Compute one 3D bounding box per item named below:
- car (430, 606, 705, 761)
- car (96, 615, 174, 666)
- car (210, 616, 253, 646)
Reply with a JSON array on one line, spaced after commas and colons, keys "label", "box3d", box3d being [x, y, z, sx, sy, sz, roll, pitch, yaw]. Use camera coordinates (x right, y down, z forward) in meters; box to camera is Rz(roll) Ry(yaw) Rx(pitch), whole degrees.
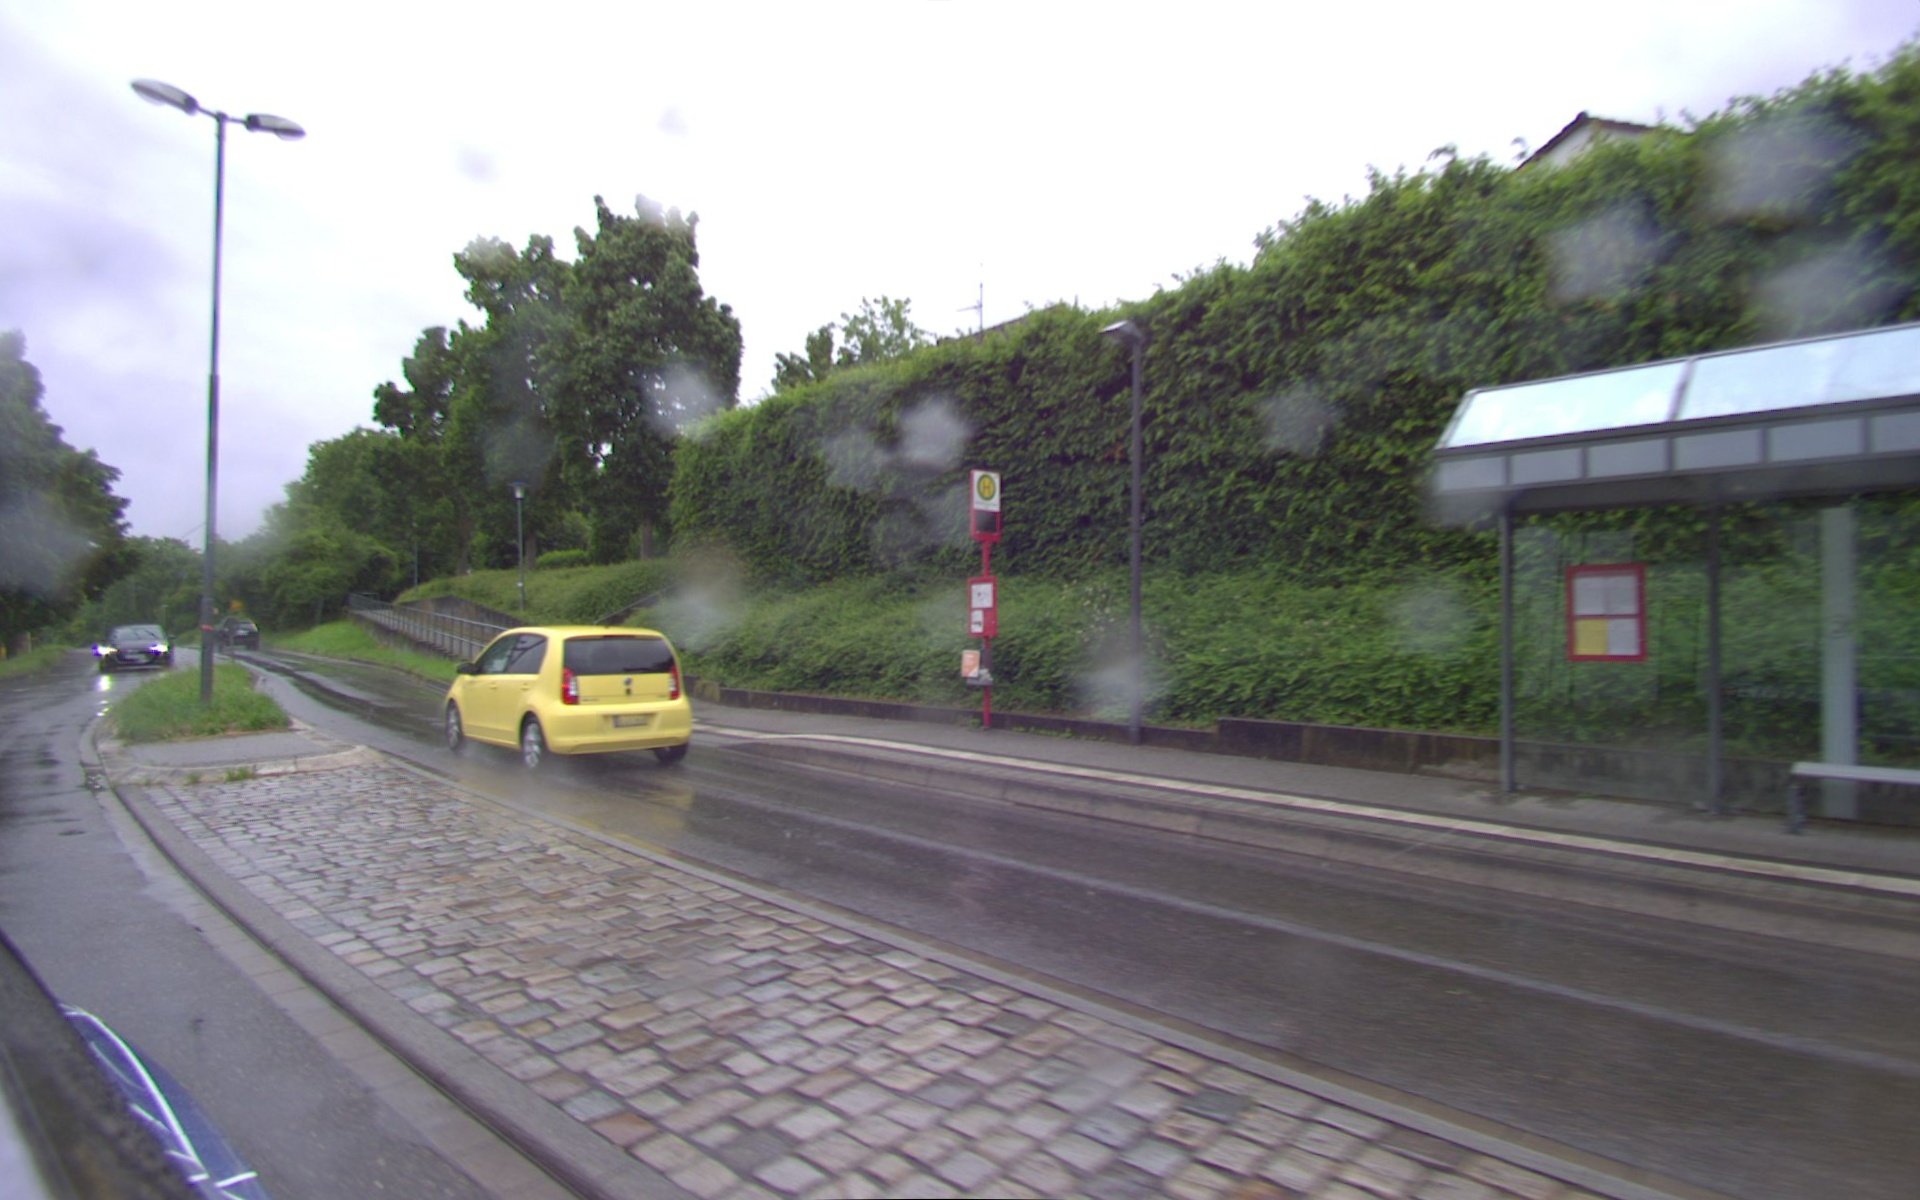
[{"label": "car", "box3d": [-4.396, 0.831, 11.090, 1.554, 1.421, 3.476, 3, -3, -44]}, {"label": "car", "box3d": [-26.621, 1.339, 32.752, 1.737, 1.497, 3.799, 1, -4, -36]}, {"label": "car", "box3d": [-38.976, 1.644, 54.102, 1.737, 1.514, 4.150, 2, -2, -37]}]
